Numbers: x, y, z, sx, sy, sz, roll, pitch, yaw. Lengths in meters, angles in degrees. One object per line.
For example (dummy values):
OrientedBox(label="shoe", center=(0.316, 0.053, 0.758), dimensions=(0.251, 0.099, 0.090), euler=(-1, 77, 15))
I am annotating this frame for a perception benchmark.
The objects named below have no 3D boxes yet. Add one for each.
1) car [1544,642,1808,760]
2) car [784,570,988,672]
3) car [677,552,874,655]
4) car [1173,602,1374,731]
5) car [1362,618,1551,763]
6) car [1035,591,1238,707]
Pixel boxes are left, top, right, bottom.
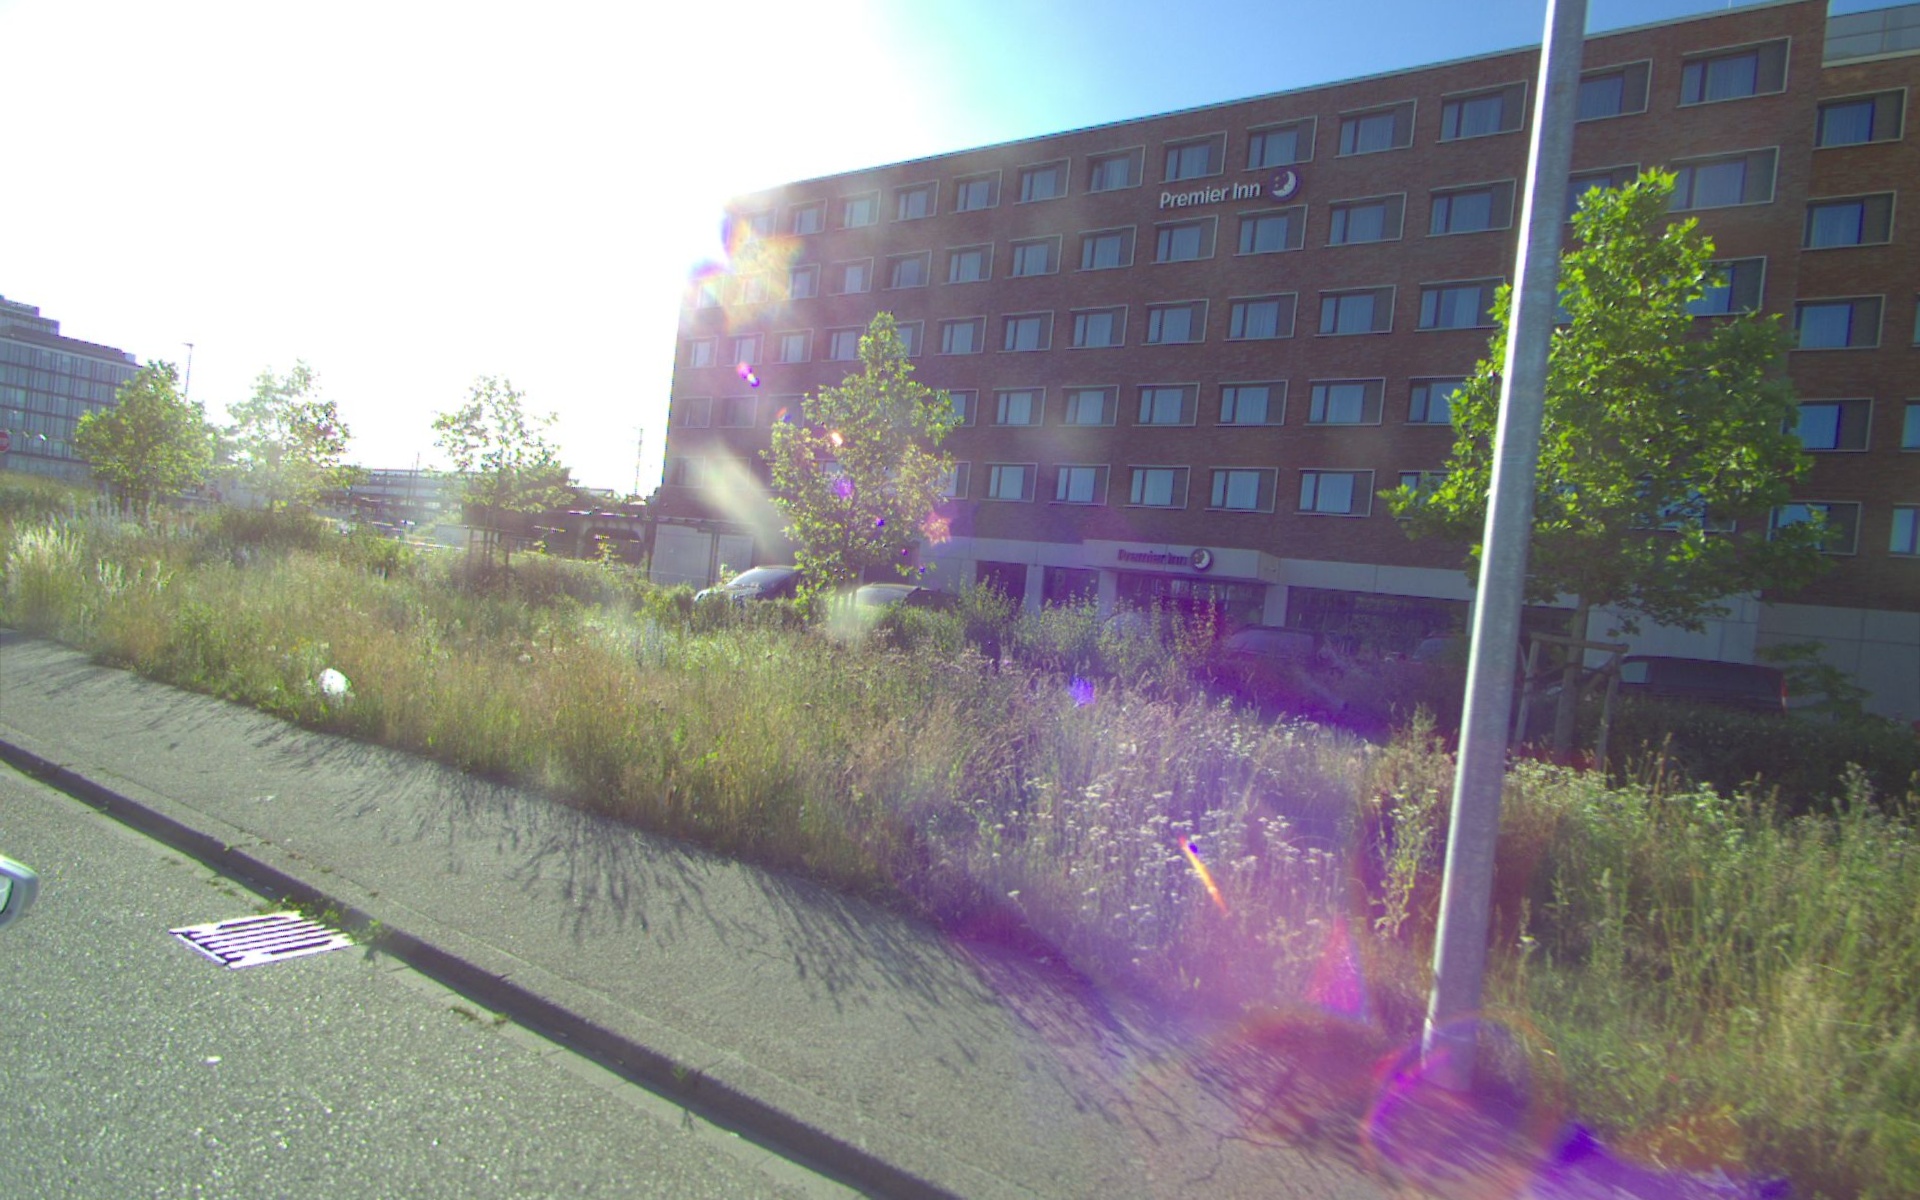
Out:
OrientedBox(label="car", center=(16.566, 2.306, 23.643), dimensions=(4.713, 1.958, 1.974), euler=(7, -1, 32))
OrientedBox(label="car", center=(-1.389, 0.489, 20.458), dimensions=(1.822, 1.599, 4.189), euler=(7, -1, 33))
OrientedBox(label="car", center=(-3.898, 0.141, 21.878), dimensions=(1.822, 1.726, 3.991), euler=(7, -1, 33))
OrientedBox(label="car", center=(5.100, 1.093, 15.985), dimensions=(1.822, 1.599, 4.189), euler=(7, -1, 33))
OrientedBox(label="car", center=(7.326, 1.305, 14.599), dimensions=(1.822, 1.599, 4.189), euler=(7, -1, 33))
OrientedBox(label="car", center=(3.197, 0.922, 17.499), dimensions=(1.822, 1.599, 4.189), euler=(7, -1, 33))
